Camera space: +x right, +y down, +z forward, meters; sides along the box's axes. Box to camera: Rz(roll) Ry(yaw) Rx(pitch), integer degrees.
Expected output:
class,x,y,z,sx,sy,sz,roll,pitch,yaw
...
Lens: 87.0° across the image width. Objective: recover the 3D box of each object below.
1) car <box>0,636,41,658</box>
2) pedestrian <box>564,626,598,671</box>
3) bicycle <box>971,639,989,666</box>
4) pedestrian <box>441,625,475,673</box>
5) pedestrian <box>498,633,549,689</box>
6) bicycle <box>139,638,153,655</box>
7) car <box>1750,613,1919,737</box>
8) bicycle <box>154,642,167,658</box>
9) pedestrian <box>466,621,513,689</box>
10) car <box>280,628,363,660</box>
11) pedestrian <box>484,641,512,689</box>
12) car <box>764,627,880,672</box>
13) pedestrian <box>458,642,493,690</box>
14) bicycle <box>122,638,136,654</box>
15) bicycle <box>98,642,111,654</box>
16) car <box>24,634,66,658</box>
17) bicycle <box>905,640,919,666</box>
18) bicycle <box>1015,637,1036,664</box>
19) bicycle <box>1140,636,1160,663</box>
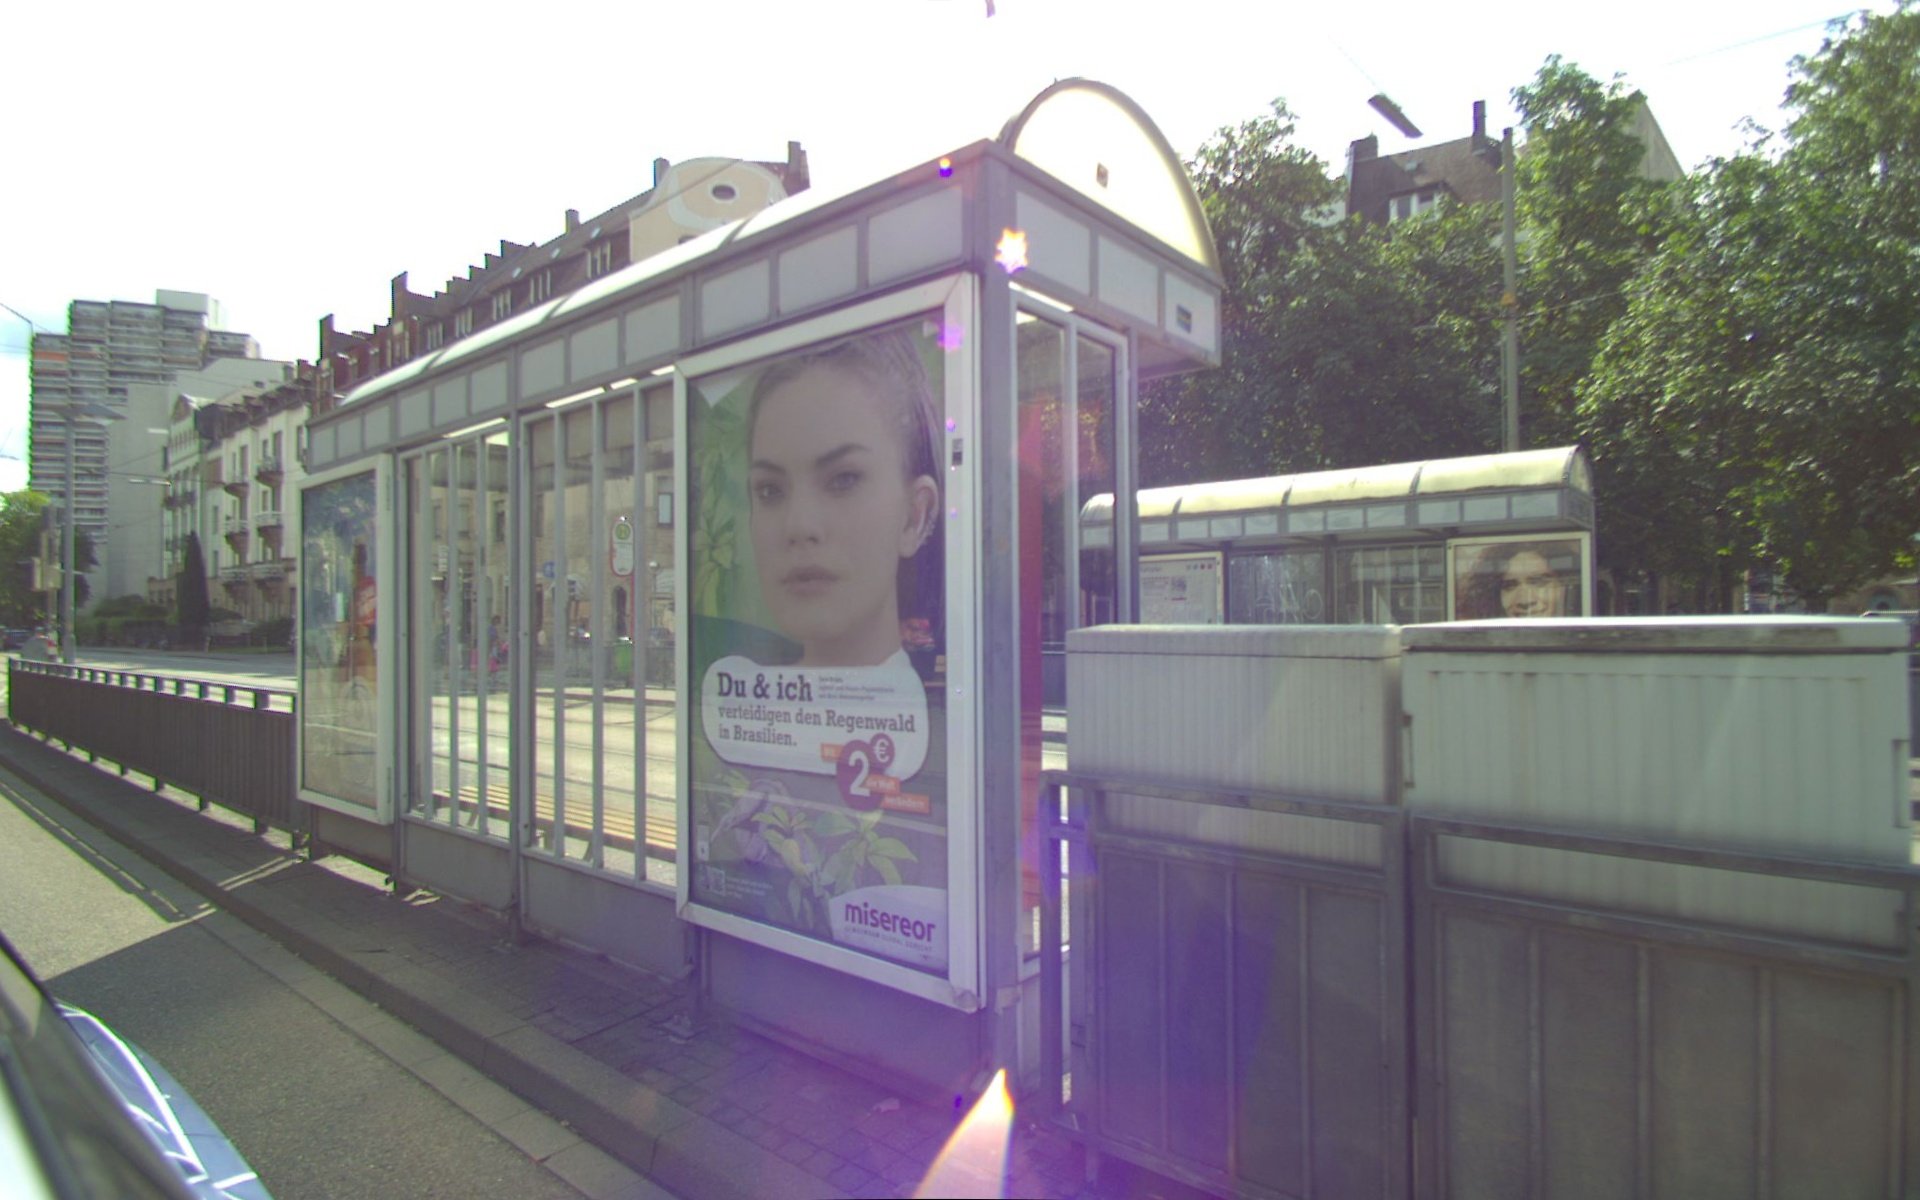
class,x,y,z,sx,sy,sz,roll,pitch,yaw
car,-62.044,3.076,66.713,3.432,1.398,1.608,-2,-3,39
pedestrian,-13.645,1.729,36.443,0.963,1.553,0.686,-2,2,42
bicycle,0.749,1.932,37.718,0.504,0.889,2.032,-1,0,-3
pedestrian,-18.690,1.807,37.663,0.873,1.717,0.749,-2,2,40
pedestrian,-10.342,1.442,23.986,0.716,1.314,0.818,-2,-4,36
bicycle,-54.123,3.078,67.262,0.532,1.037,1.874,1,-1,-45
car,14.403,1.085,15.120,3.998,1.790,1.662,-2,-2,41
bicycle,-49.825,3.090,63.085,0.517,0.913,2.069,1,0,-42
pedestrian,-11.253,1.307,24.193,0.798,1.577,0.721,-2,-2,36
car,-34.143,2.321,54.194,1.706,1.497,3.408,-2,0,42
pedestrian,-10.834,1.522,23.735,0.422,1.117,0.433,-2,-4,36
car,-4.673,1.675,34.566,3.813,1.431,1.723,-1,-2,-6
pedestrian,-11.756,1.587,24.546,0.443,1.122,0.635,-2,-2,36
bicycle,-57.537,3.183,70.098,0.579,0.993,1.874,1,-1,-45
bicycle,-62.463,3.479,73.887,0.579,0.803,1.874,-3,1,-45
car,-69.236,3.486,76.565,4.328,1.724,1.773,-2,-2,40
bicycle,-1.803,1.964,37.686,0.504,0.889,2.032,-1,0,-3
bicycle,2.441,1.868,37.726,0.538,0.889,2.032,-1,0,-3
bicycle,7.007,1.808,37.351,0.540,0.905,2.027,-1,0,6
